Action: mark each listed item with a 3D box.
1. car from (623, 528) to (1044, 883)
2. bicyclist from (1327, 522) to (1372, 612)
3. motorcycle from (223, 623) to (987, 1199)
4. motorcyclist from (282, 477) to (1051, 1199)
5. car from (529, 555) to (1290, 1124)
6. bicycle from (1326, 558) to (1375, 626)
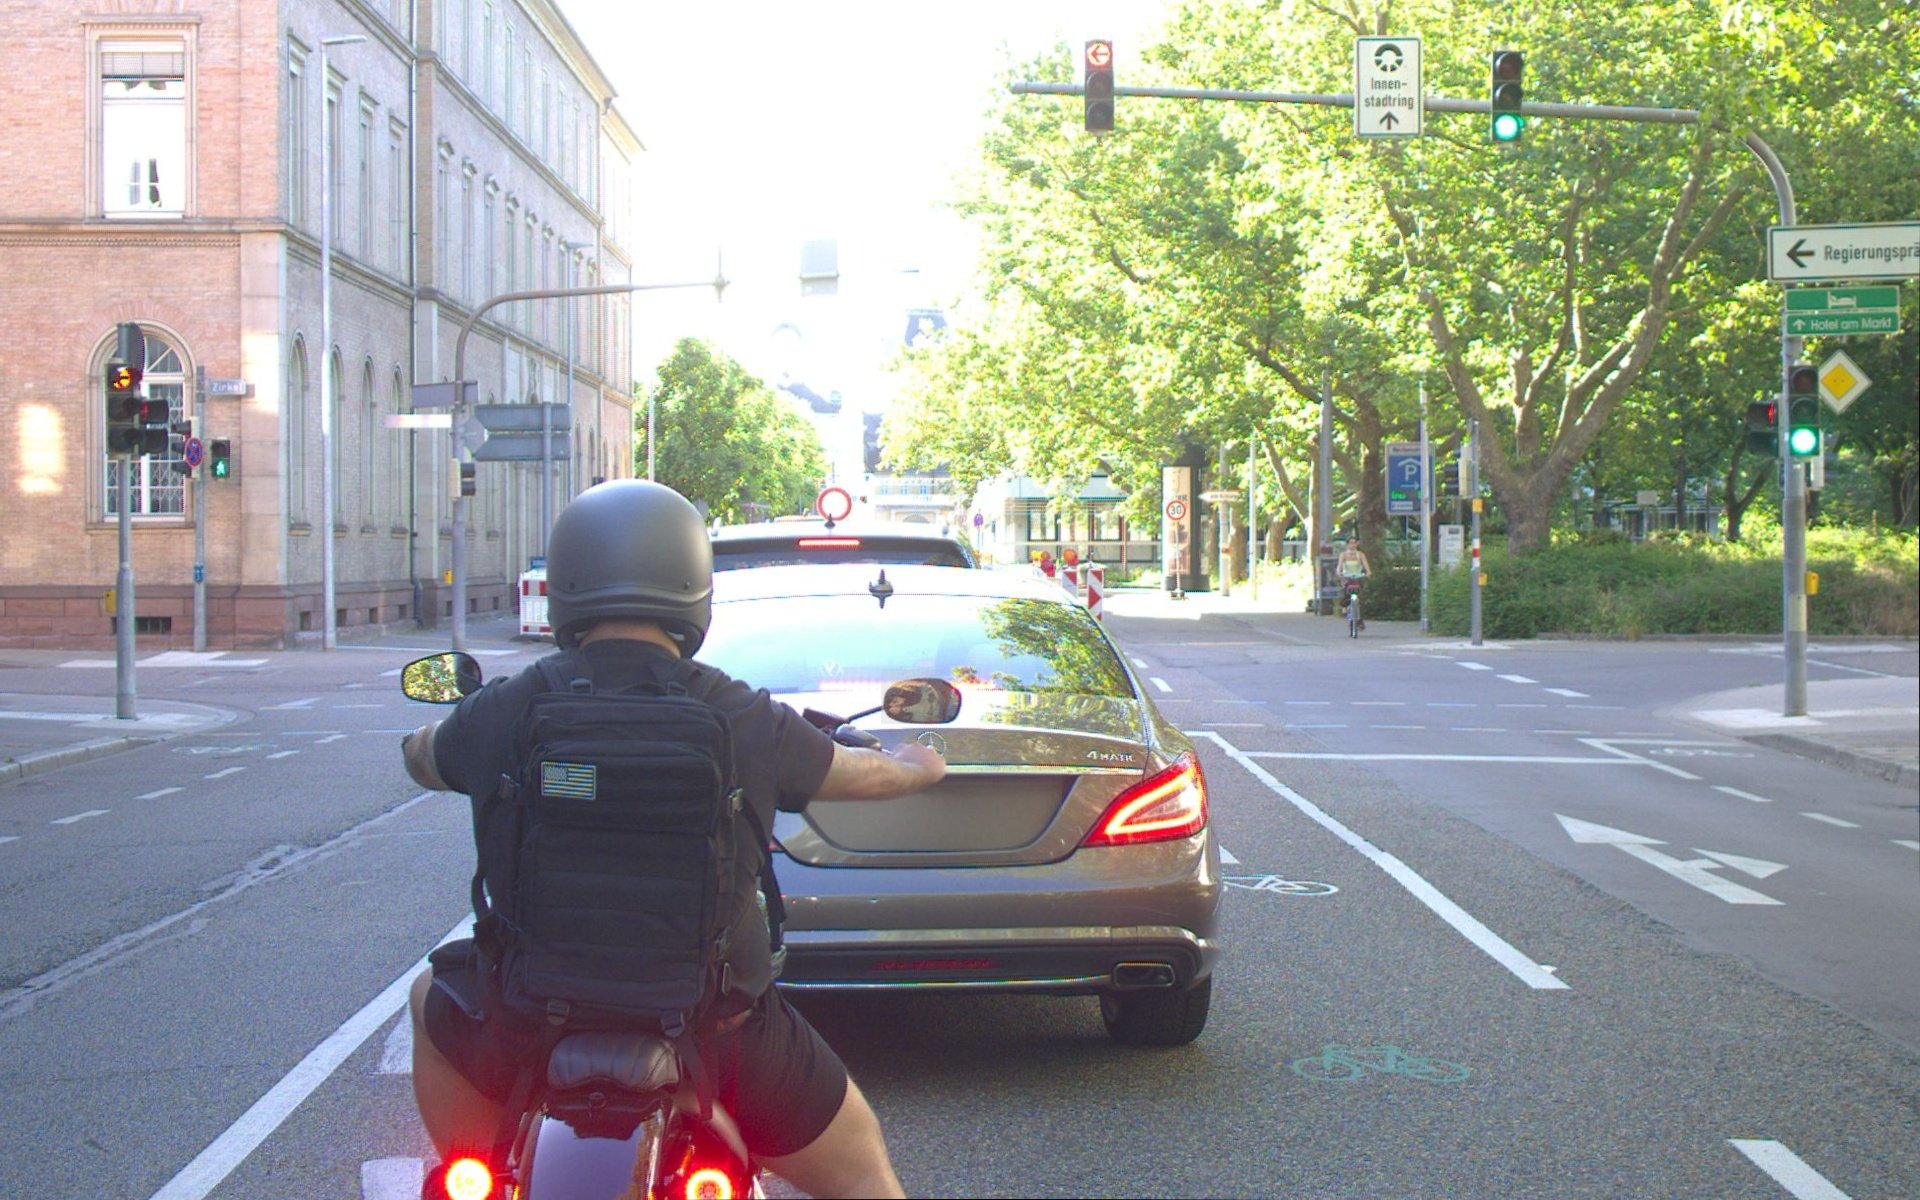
[{"bbox_3d":[-0.650,0.419,16.765,1.813,1.530,3.849,0,1,-3],"label":"car"},{"bbox_3d":[6.869,-0.580,60.622,0.716,1.577,0.936,1,0,3],"label":"bicyclist"},{"bbox_3d":[-0.469,0.738,5.534,0.962,1.352,2.320,1,1,-1],"label":"motorcycle"},{"bbox_3d":[-0.419,0.620,5.263,1.061,1.577,0.908,1,0,-1],"label":"motorcyclist"},{"bbox_3d":[-0.381,0.587,11.088,1.901,1.436,4.290,0,1,-8],"label":"car"},{"bbox_3d":[6.869,-0.154,60.570,0.716,1.168,2.176,1,1,3],"label":"bicycle"}]
